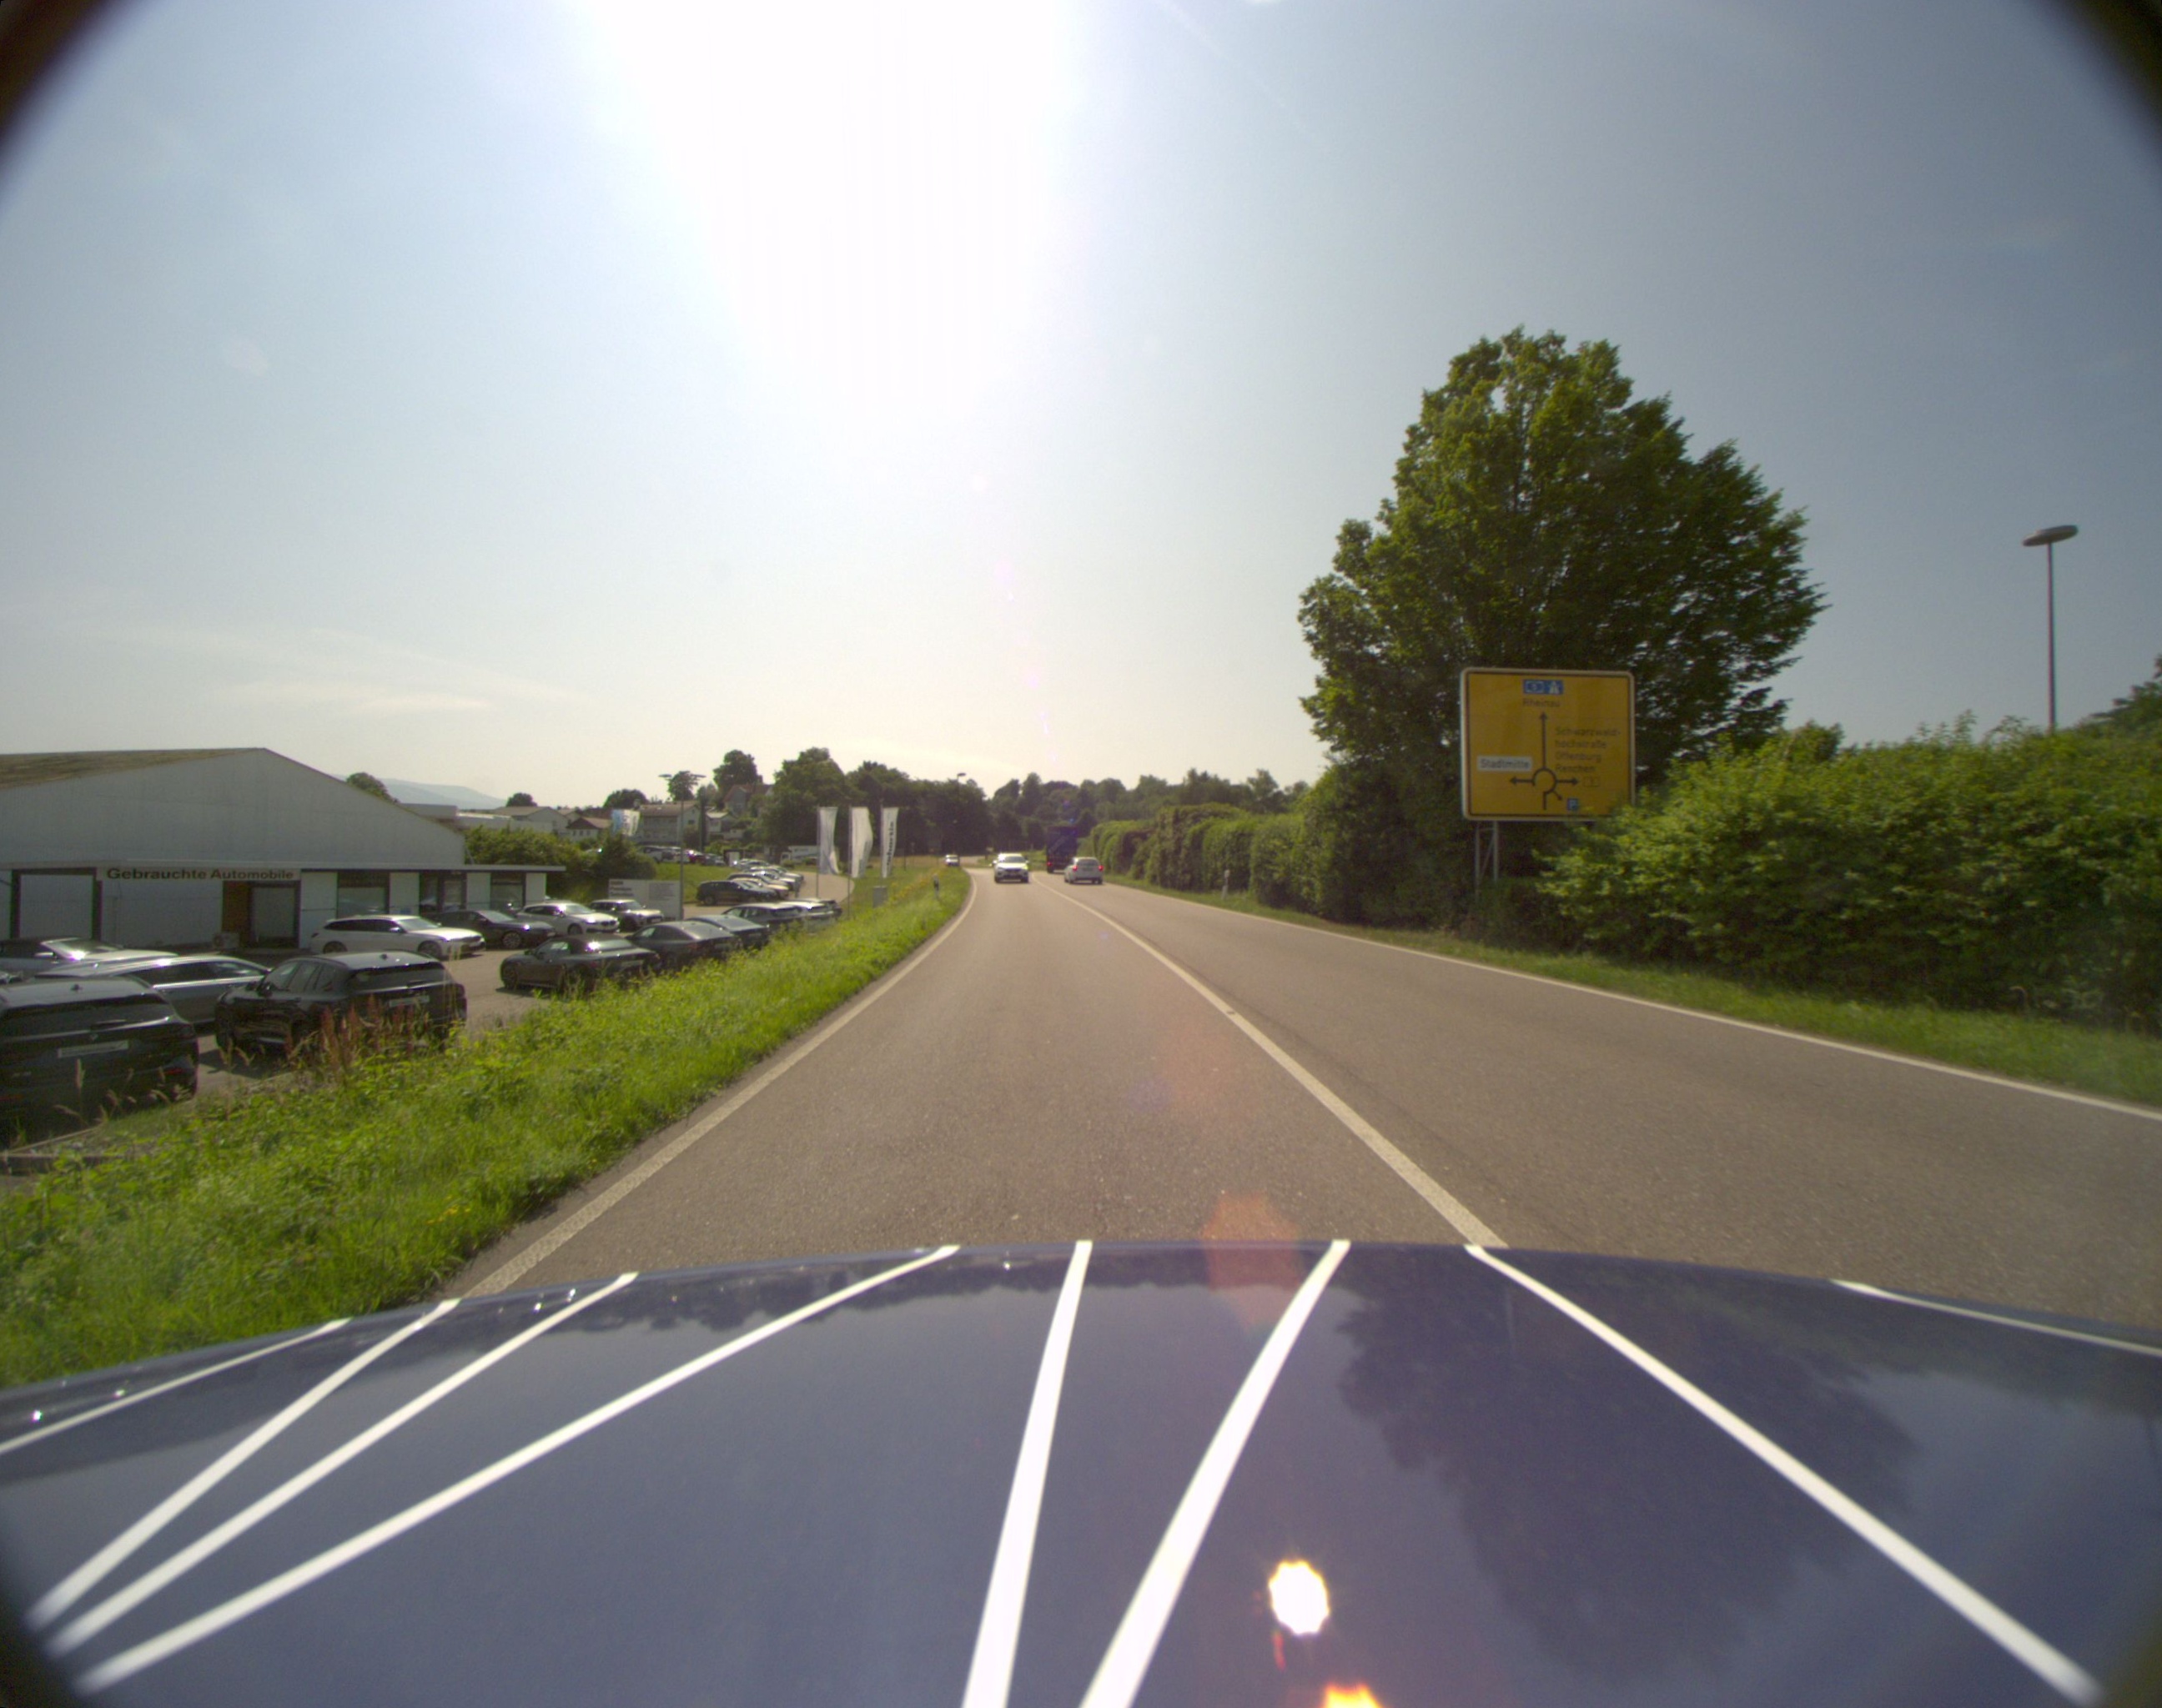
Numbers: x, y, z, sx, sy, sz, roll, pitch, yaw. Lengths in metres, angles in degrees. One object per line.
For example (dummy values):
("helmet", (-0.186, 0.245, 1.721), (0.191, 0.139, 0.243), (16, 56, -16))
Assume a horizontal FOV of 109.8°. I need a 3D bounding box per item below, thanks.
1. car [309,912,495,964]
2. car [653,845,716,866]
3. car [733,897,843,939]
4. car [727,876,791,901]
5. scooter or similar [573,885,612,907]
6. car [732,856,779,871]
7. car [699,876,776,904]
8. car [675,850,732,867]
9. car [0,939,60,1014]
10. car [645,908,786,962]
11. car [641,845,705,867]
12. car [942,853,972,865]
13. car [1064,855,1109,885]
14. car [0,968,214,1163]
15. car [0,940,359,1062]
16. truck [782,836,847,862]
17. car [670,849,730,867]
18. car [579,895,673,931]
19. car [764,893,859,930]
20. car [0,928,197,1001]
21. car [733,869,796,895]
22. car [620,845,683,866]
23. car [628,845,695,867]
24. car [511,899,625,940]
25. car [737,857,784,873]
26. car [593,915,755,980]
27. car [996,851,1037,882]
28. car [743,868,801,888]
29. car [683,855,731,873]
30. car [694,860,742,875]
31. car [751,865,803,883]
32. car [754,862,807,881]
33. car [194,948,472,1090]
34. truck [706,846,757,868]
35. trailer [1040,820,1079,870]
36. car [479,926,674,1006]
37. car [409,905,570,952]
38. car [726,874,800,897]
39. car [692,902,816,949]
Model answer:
("car", (-22.831, 2.793, 25.701), (4.437, 1.514, 1.931), (0, 1, -2))
("car", (-34.582, 0.159, 66.323), (4.462, 1.737, 1.951), (1, 0, 6))
("car", (-12.254, 2.637, 31.741), (4.162, 1.514, 1.754), (-1, 1, 22))
("car", (-23.008, 2.455, 54.464), (4.003, 1.543, 1.996), (1, 2, -17))
("scooter or similar", (-31.328, 2.687, 48.700), (1.981, 1.306, 0.622), (-1, 1, -9))
("car", (-36.897, 1.084, 86.143), (4.675, 1.561, 1.764), (4, -2, -34))
("car", (-23.334, 2.428, 51.767), (4.498, 1.631, 2.144), (-1, 2, -17))
("car", (-35.650, 0.453, 71.879), (4.462, 1.491, 1.951), (1, -1, 6))
("car", (-26.084, 2.776, 16.410), (4.621, 1.514, 1.930), (0, 1, -13))
("car", (-12.212, 2.650, 25.411), (4.162, 1.514, 1.859), (-1, 1, 22))
("car", (-34.275, 0.157, 63.914), (4.462, 1.737, 1.840), (1, 0, 6))
("car", (-17.441, 0.648, 107.299), (2.194, 1.642, 6.023), (-1, 0, 11))
("car", (0.241, 0.827, 41.070), (1.834, 1.462, 4.407), (-1, 1, -7))
("car", (-13.222, 2.540, 9.753), (4.224, 1.690, 1.923), (-1, -2, 30))
("car", (-17.358, 2.664, 14.721), (2.139, 1.449, 4.533), (-1, 1, 6))
("truck", (-41.221, -0.842, 117.810), (9.022, 3.807, 2.898), (-1, 1, -7))
("car", (-34.639, 0.364, 69.155), (4.462, 1.625, 1.951), (1, 0, 6))
("car", (-21.462, 2.759, 35.880), (3.795, 1.514, 1.754), (-1, 1, 20))
("car", (-12.514, 2.614, 35.219), (4.161, 1.514, 1.693), (-1, 1, 26))
("car", (-26.169, 2.775, 19.250), (4.621, 1.514, 1.930), (0, 1, -13))
("car", (-24.614, 2.160, 59.239), (4.264, 1.738, 1.997), (2, 2, -13))
("car", (-33.076, 0.135, 58.549), (3.883, 1.523, 1.769), (1, 0, 6))
("car", (-33.656, 0.163, 61.017), (4.462, 1.737, 1.840), (1, 0, 6))
("car", (-21.900, 2.778, 32.477), (3.963, 1.514, 1.753), (0, 1, 13))
("car", (-35.292, 1.211, 83.737), (4.585, 1.561, 1.764), (1, 1, -28))
("car", (-11.784, 2.656, 22.037), (4.162, 1.514, 1.859), (-1, 1, 22))
("car", (-3.814, 0.708, 44.012), (2.197, 1.642, 5.118), (-1, 0, -7))
("car", (-25.824, 2.038, 63.647), (4.440, 1.457, 1.918), (2, 2, -21))
("car", (-39.402, 1.064, 80.086), (4.003, 1.740, 1.951), (2, 0, 6))
("car", (-36.747, 1.350, 76.955), (4.002, 1.517, 1.952), (1, -1, 12))
("car", (-27.451, 1.809, 68.701), (4.267, 1.474, 1.918), (2, 2, -22))
("car", (-28.061, 1.671, 71.024), (4.578, 1.557, 1.918), (2, 2, -22))
("car", (-12.587, 2.597, 12.757), (4.632, 1.690, 1.860), (-1, -2, 26))
("truck", (-43.275, 0.407, 94.205), (5.617, 2.649, 1.952), (1, 0, 11))
("trailer", (-2.220, -0.783, 72.144), (2.678, 4.216, 14.557), (-1, 1, -5))
("car", (-12.710, 2.730, 19.130), (4.632, 1.514, 1.859), (-1, 1, 24))
("car", (-22.290, 2.791, 28.804), (4.439, 1.514, 1.931), (0, 0, -7))
("car", (-23.665, 2.348, 56.765), (4.784, 1.500, 1.997), (2, 2, -13))
("car", (-12.390, 2.673, 28.842), (4.162, 1.514, 1.859), (-1, 1, 21))
